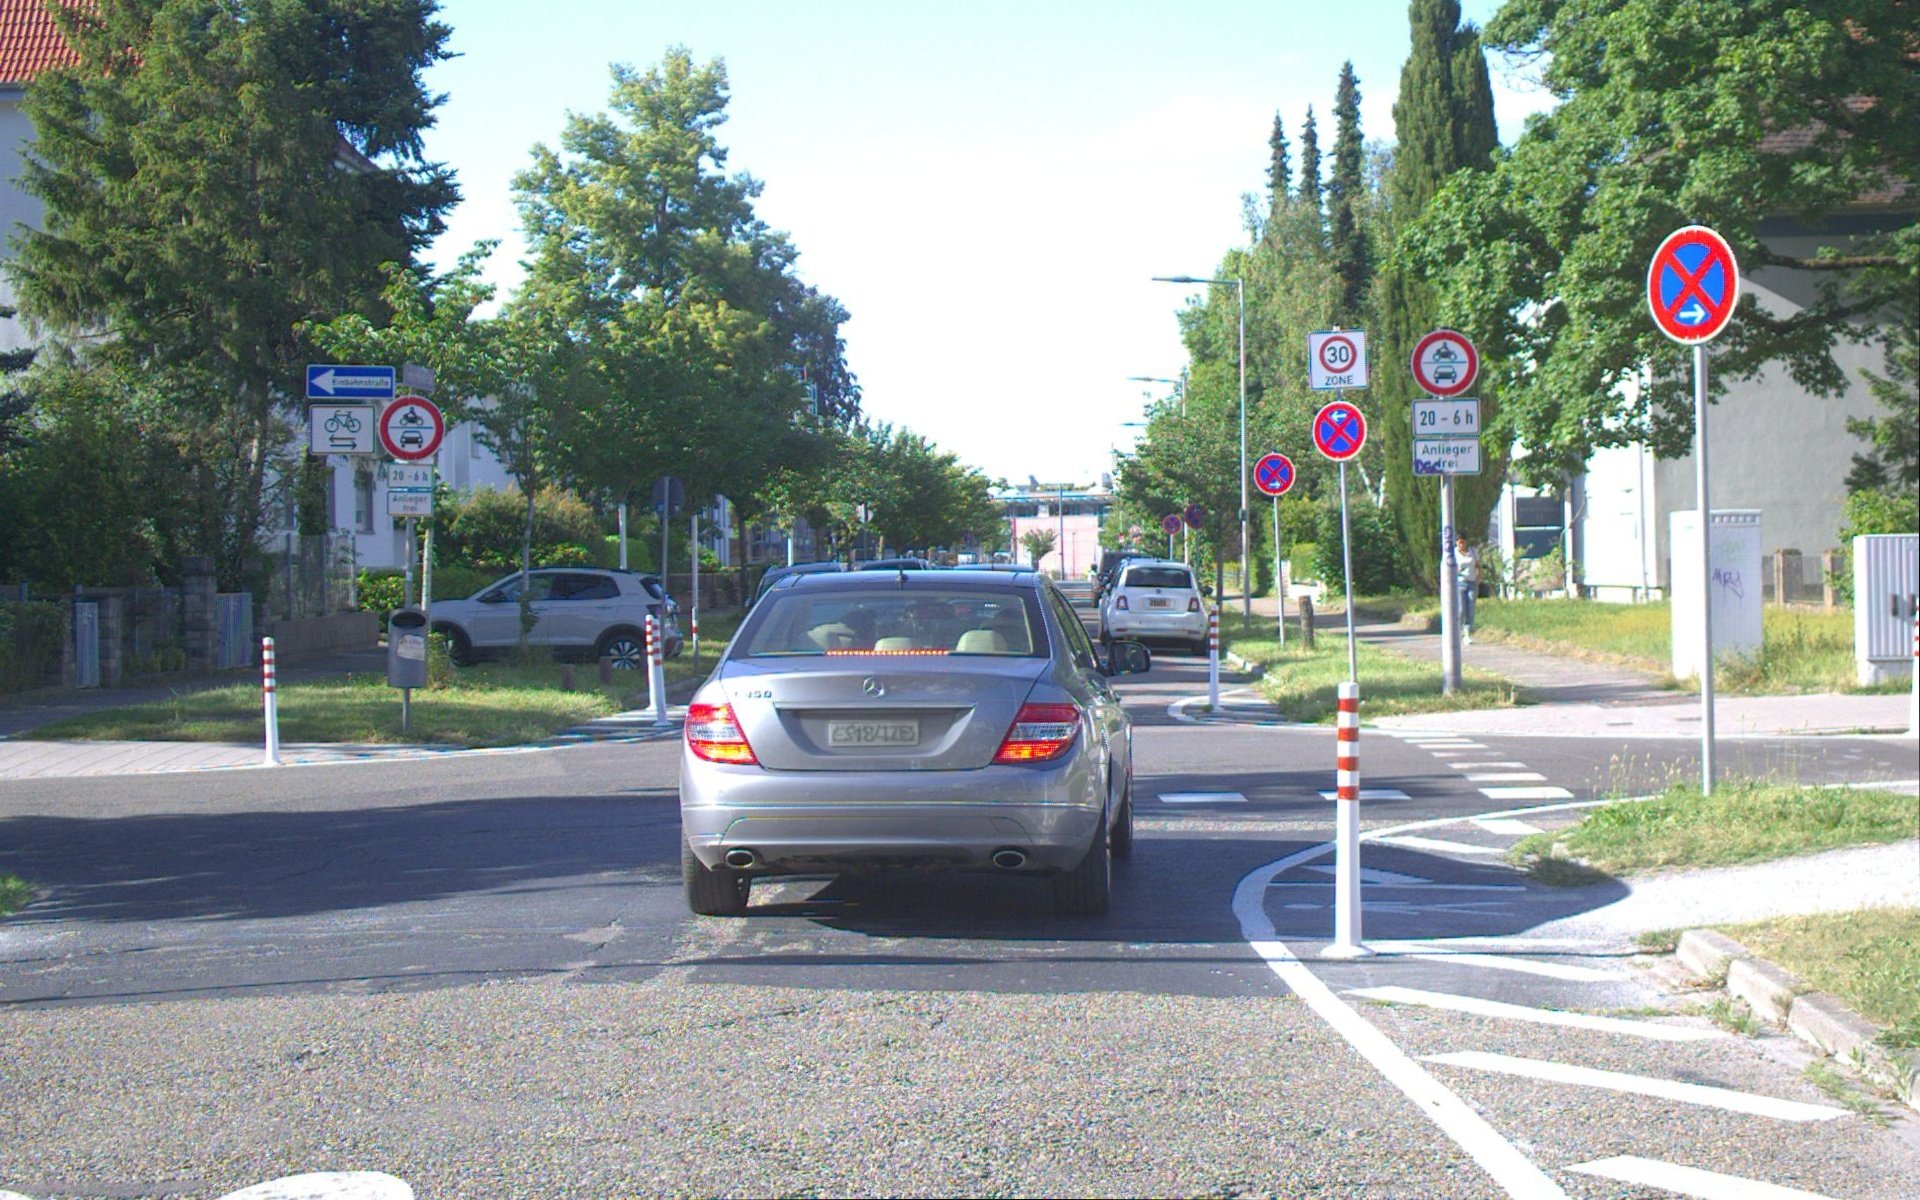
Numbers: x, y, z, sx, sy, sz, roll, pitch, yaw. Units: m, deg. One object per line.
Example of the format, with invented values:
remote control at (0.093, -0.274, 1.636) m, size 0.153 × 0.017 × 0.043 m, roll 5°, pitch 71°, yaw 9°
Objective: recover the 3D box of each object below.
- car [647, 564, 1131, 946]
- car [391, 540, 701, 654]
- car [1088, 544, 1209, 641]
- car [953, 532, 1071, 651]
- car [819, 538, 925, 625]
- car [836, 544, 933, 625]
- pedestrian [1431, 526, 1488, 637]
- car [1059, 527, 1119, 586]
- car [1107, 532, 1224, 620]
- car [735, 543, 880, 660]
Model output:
car at (-0.174, 0.577, 15.179) m, size 1.836 × 1.436 × 4.000 m, roll -1°, pitch 1°, yaw 3°
car at (-5.857, -0.052, 48.994) m, size 4.192 × 1.558 × 1.842 m, roll -1°, pitch 1°, yaw -1°
car at (3.049, -0.149, 56.114) m, size 1.733 × 1.474 × 3.725 m, roll -2°, pitch 1°, yaw 0°
car at (0.723, -0.153, 49.491) m, size 1.597 × 1.604 × 3.644 m, roll -2°, pitch 1°, yaw 0°
car at (-1.809, -0.412, 71.804) m, size 1.993 × 1.604 × 4.000 m, roll -5°, pitch 1°, yaw 0°
car at (-1.672, -0.372, 77.598) m, size 1.993 × 1.604 × 4.000 m, roll -5°, pitch 1°, yaw 0°
pedestrian at (7.380, -0.276, 50.833) m, size 0.766 × 1.605 × 0.834 m, roll -1°, pitch 1°, yaw 7°
car at (4.176, -1.440, 111.933) m, size 1.855 × 1.835 × 4.000 m, roll -2°, pitch 1°, yaw 1°
car at (3.965, -0.483, 66.900) m, size 1.993 × 1.604 × 4.000 m, roll -2°, pitch 1°, yaw 0°
car at (-2.352, -0.007, 54.006) m, size 1.993 × 1.604 × 4.000 m, roll -5°, pitch 1°, yaw 0°
